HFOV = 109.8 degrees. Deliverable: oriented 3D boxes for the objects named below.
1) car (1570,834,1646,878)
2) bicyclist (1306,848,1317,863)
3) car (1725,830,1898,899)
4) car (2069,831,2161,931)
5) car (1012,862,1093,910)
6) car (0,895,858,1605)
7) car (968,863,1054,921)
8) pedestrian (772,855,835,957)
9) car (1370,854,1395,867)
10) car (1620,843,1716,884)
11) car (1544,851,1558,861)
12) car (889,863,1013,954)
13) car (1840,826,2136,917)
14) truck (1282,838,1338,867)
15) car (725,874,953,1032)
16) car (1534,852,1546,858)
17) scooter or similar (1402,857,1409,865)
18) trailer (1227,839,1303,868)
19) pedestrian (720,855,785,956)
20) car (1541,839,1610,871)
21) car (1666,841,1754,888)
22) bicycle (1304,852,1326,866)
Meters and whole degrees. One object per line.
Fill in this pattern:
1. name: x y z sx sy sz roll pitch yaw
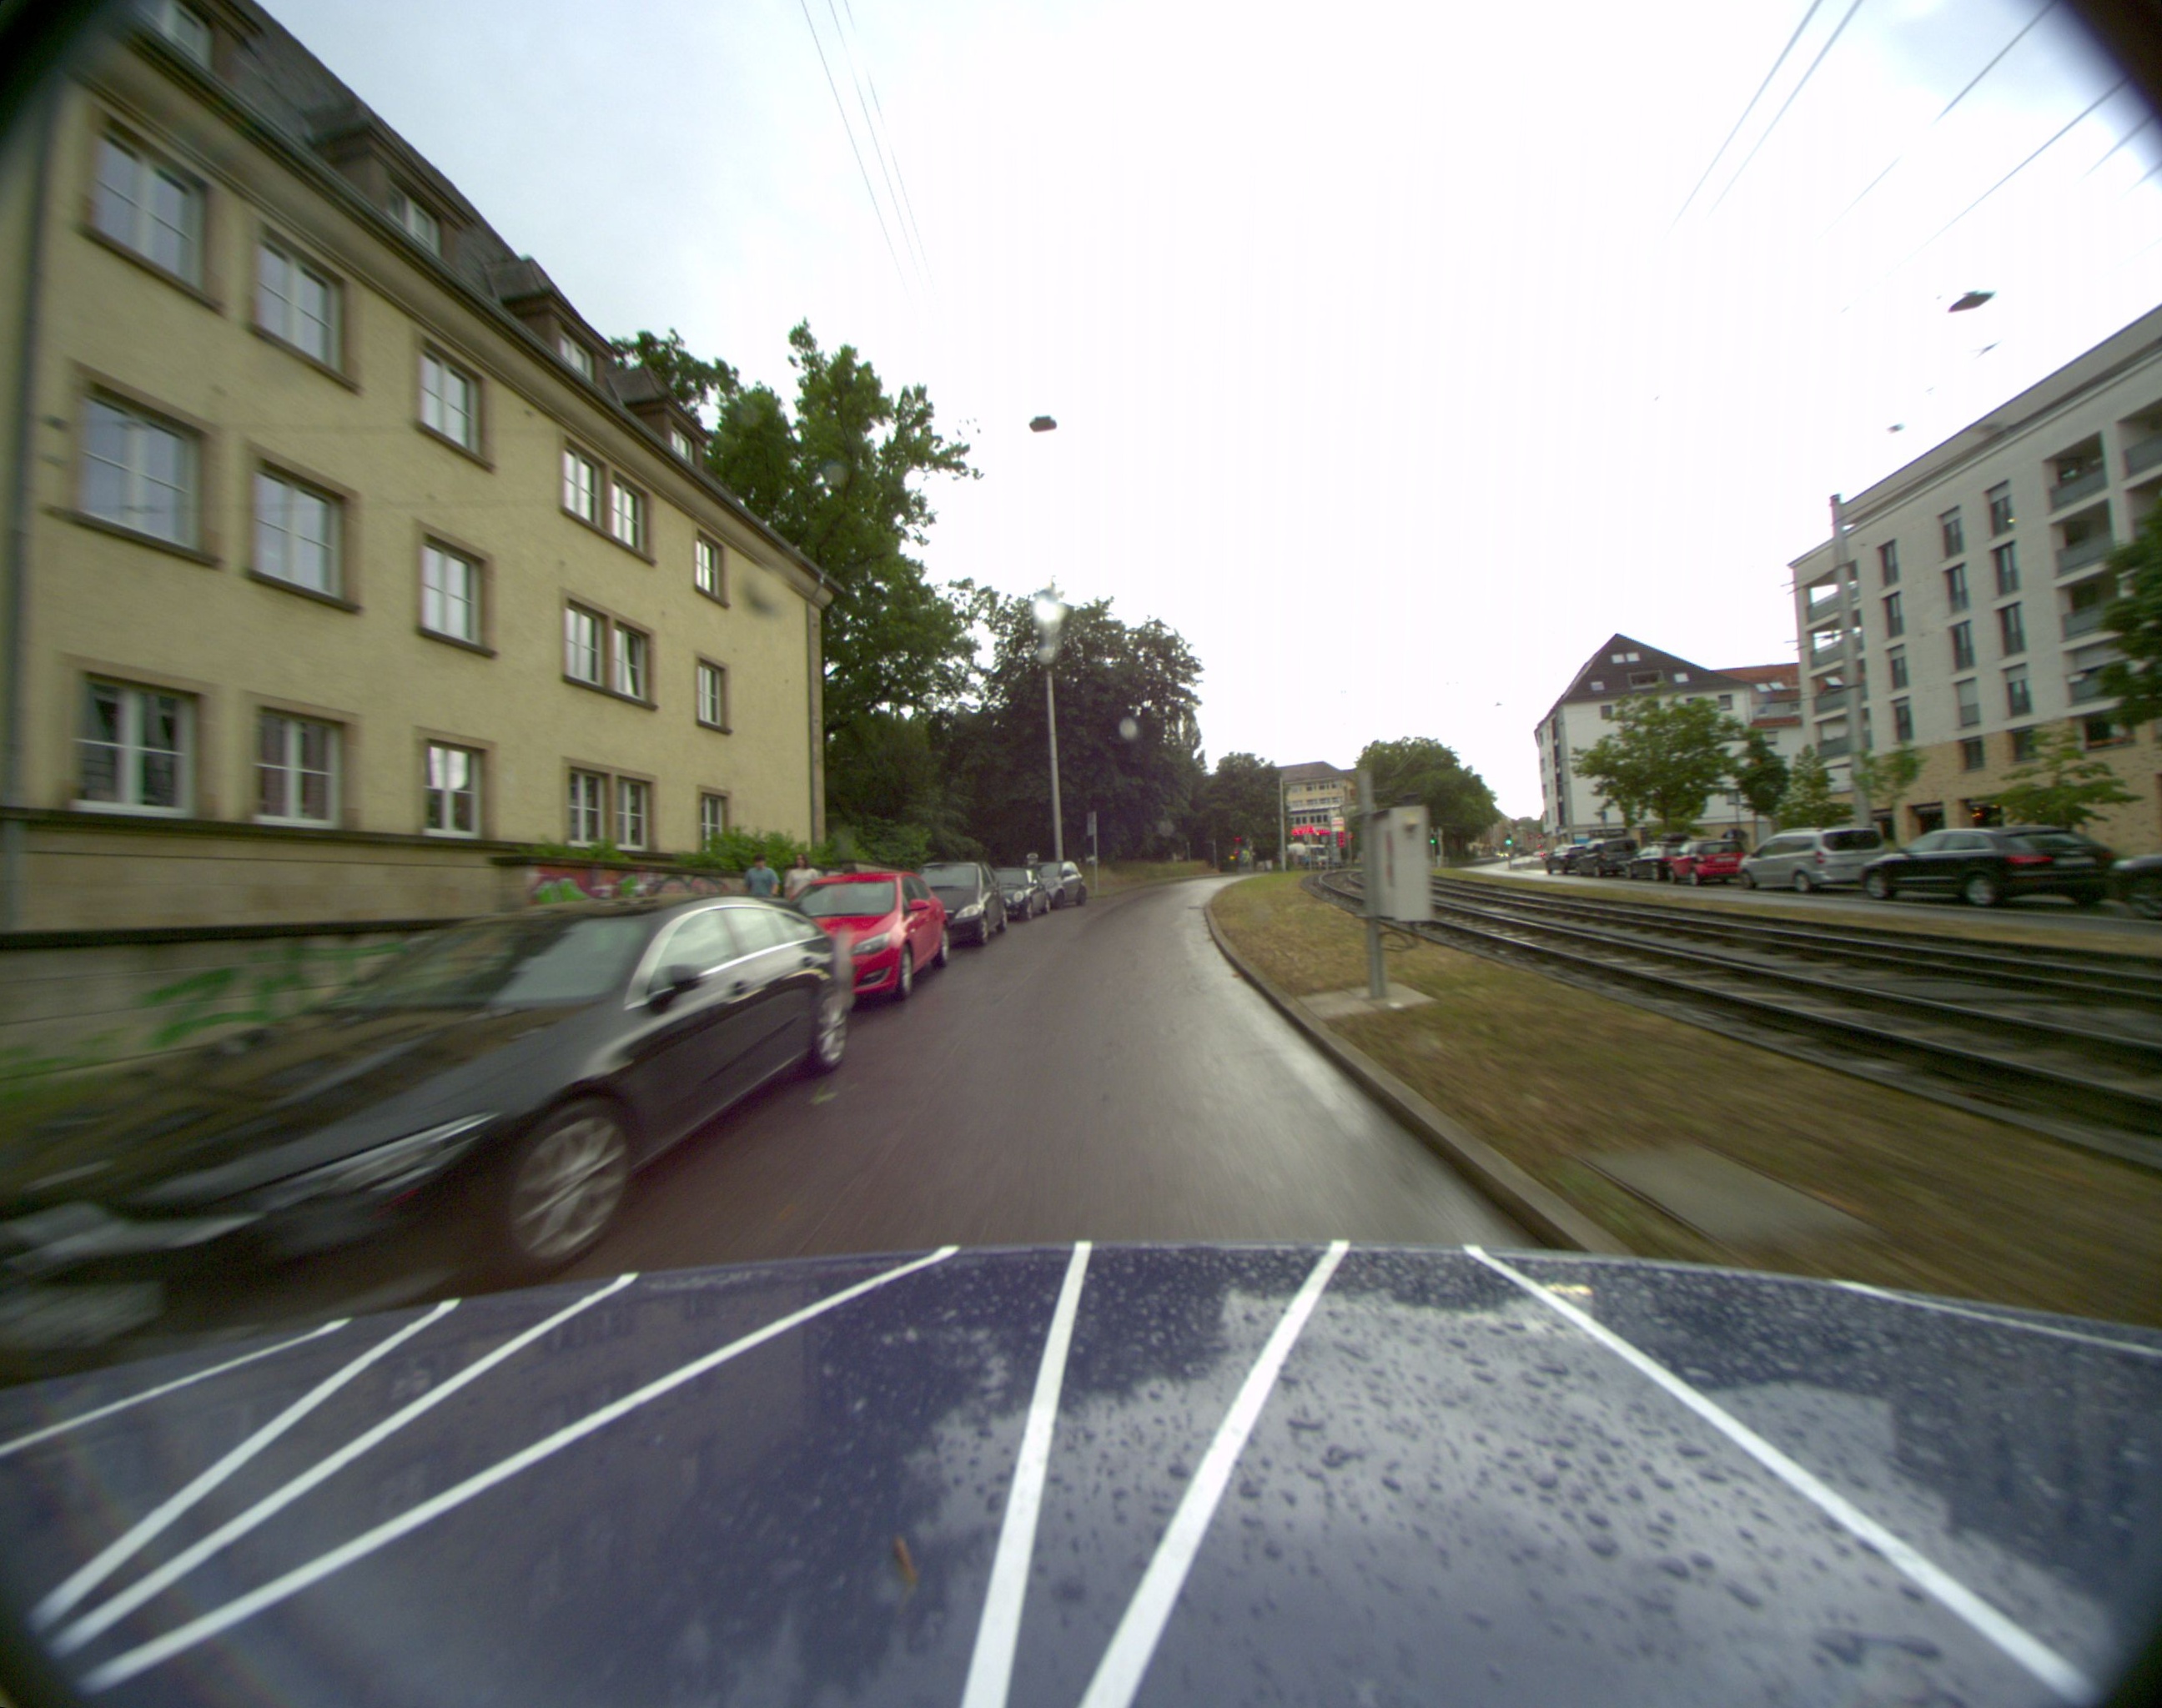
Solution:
1. car: 24.860 0.095 36.019 1.583 1.848 4.338 -4 -1 16
2. bicyclist: 19.454 0.137 64.012 0.799 1.287 0.595 -2 1 12
3. car: 20.870 0.270 21.977 1.665 1.737 4.262 -2 0 14
4. car: 18.026 0.407 11.033 1.806 1.574 4.702 -3 0 11
5. car: -0.890 1.013 24.899 1.599 1.457 2.725 -1 0 23
6. car: -2.797 1.077 4.076 1.669 1.468 4.458 -1 0 3
7. car: -1.851 0.993 21.048 1.539 1.408 3.646 -1 0 8
8. pedestrian: -4.875 0.888 13.367 0.719 1.744 0.739 -1 0 12
9. car: 37.654 0.825 94.910 1.885 1.482 3.857 -1 0 37
10. car: 23.612 0.355 30.768 1.552 1.439 4.405 -3 -1 17
11. car: 83.106 0.331 134.372 2.026 1.533 4.008 -2 -1 30
12. car: -2.474 0.984 15.377 1.669 1.564 3.856 -1 0 3
13. car: 19.201 0.338 16.472 1.734 1.634 4.536 -3 0 14
14. truck: 27.961 -0.166 92.933 2.842 3.379 6.110 -1 -1 -36
15. car: -2.852 1.082 9.928 1.670 1.468 4.066 -3 0 -1
16. car: 118.037 0.252 195.486 1.688 1.527 5.025 -2 -1 20
17. scooter or similar: 51.691 1.043 121.011 1.365 1.186 0.399 -5 2 -43
18. trailer: 23.678 -0.010 98.276 2.819 3.375 9.811 -2 -1 -38
19. pedestrian: -5.813 0.893 13.472 0.719 1.744 0.739 -1 0 12
20. car: 26.363 0.034 40.653 1.996 1.595 4.220 -2 0 17
21. car: 21.996 0.345 26.687 1.471 1.522 2.935 -2 0 20
22. bicycle: 19.633 0.405 63.820 1.709 1.133 0.626 -2 0 13
